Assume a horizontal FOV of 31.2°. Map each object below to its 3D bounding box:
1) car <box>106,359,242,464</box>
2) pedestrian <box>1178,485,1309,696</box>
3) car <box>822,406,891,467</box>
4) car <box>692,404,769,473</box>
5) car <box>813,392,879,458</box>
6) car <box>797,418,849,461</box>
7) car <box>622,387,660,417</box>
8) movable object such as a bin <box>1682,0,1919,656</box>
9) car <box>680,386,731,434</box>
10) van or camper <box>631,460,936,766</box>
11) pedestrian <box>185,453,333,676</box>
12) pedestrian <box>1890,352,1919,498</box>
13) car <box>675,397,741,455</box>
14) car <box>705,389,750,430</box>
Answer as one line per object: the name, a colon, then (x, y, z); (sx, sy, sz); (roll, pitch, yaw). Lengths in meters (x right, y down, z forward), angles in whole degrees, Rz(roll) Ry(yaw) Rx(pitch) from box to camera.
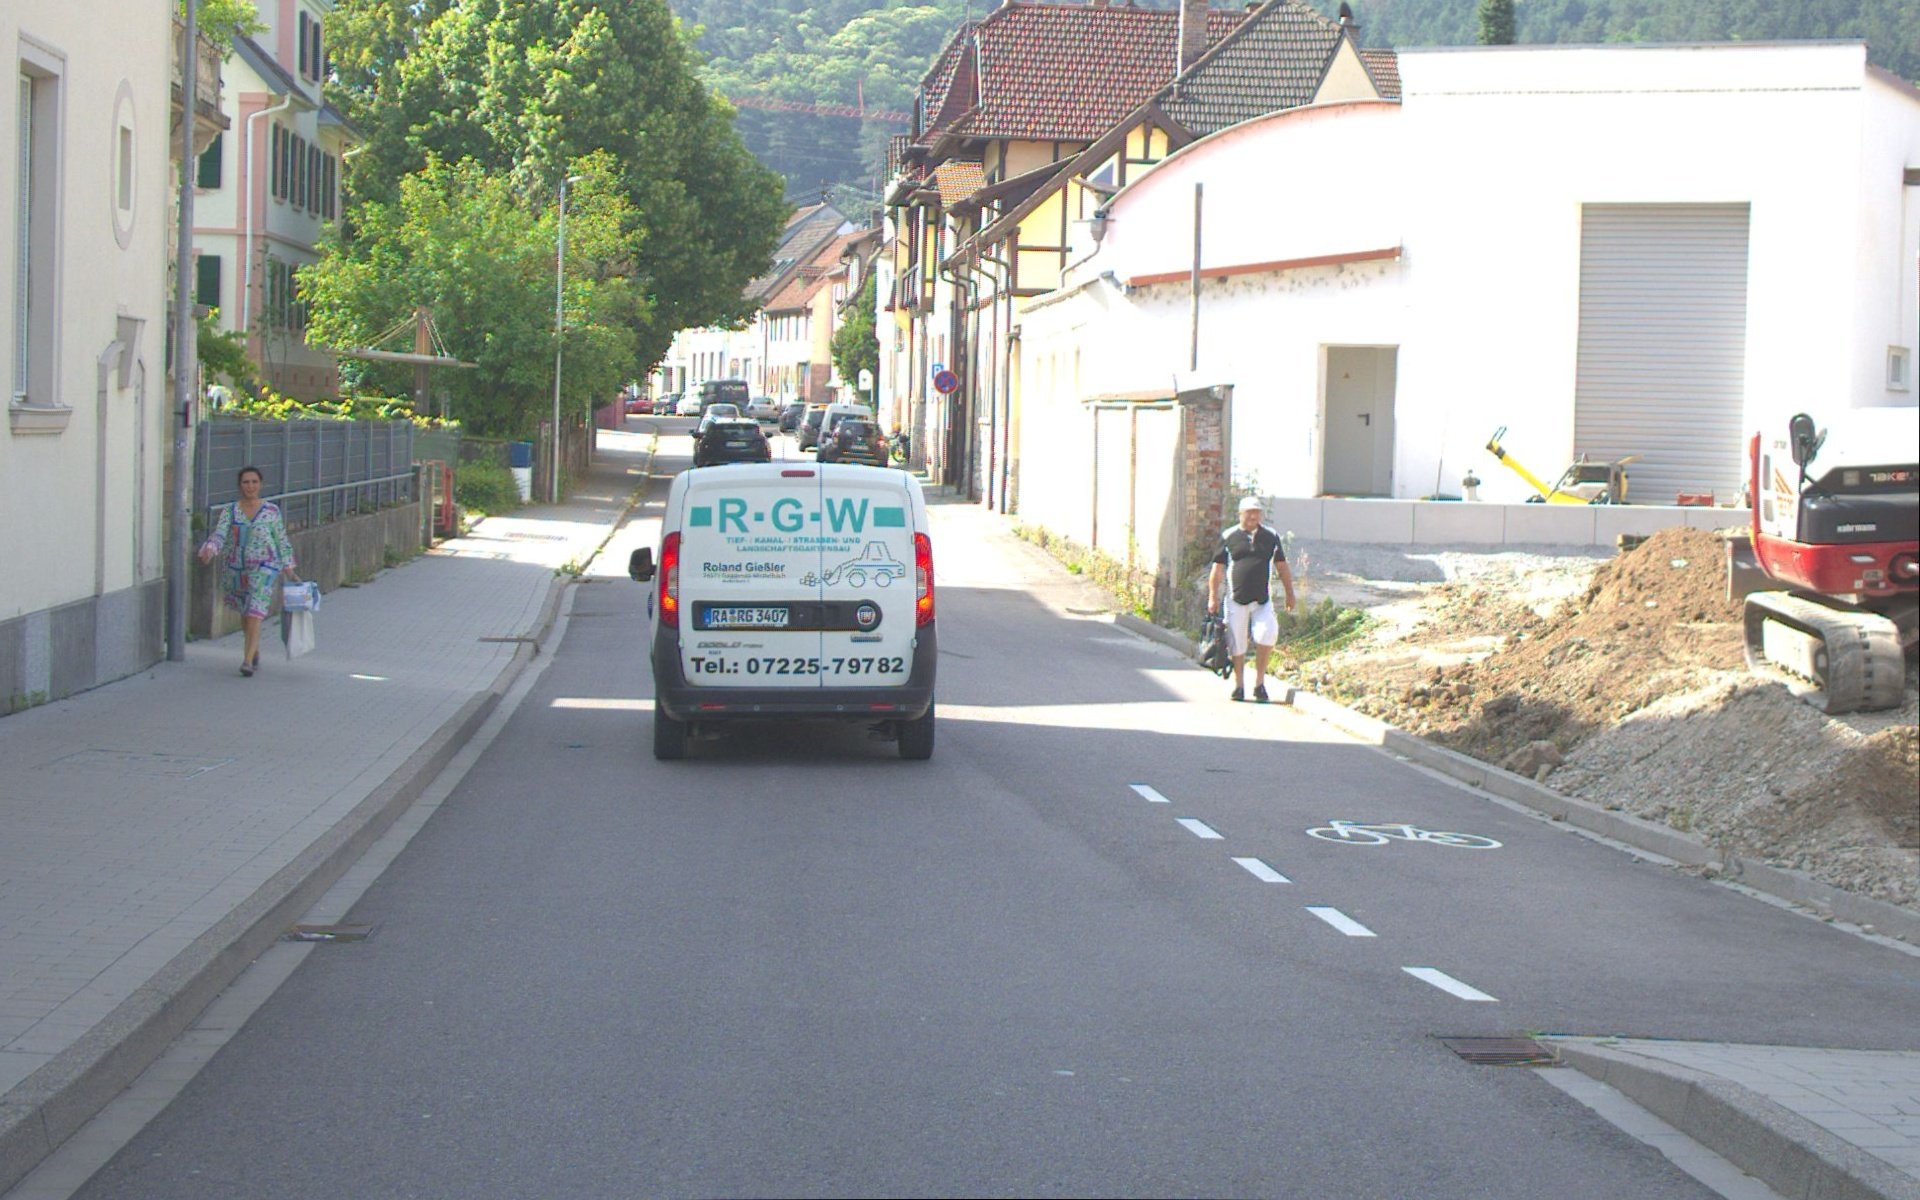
car: (-14.941, -3.618, 65.582); (1.822, 1.766, 4.684); (5, 3, -6)
pedestrian: (2.342, -0.089, 28.512); (0.888, 1.677, 0.719); (3, 2, -4)
car: (-3.073, -4.840, 101.276); (1.810, 1.591, 3.928); (4, 4, -4)
car: (-5.979, -4.208, 89.256); (1.810, 1.591, 3.928); (4, 4, -5)
car: (-3.716, -5.682, 111.398); (1.871, 2.006, 4.001); (2, 3, -4)
car: (-5.107, -5.974, 127.799); (1.669, 1.502, 4.002); (1, 4, -6)
car: (-20.491, -12.708, 220.736); (1.771, 1.792, 4.002); (1, 4, -15)
movable object such as a bin: (5.830, -1.641, 17.755); (2.295, 3.840, 7.800); (4, 3, 0)
car: (-15.421, -11.517, 207.799); (2.874, 2.825, 6.126); (1, 3, -6)
van or camper: (-1.260, 0.023, 22.808); (1.827, 1.838, 4.189); (0, 1, -6)
pedestrian: (-5.331, -0.281, 26.190); (0.958, 1.625, 0.758); (2, 2, -4)
pedestrian: (12.733, -2.306, 45.522); (0.634, 1.890, 0.607); (5, 4, 13)
car: (-7.873, -5.433, 107.035); (1.810, 1.591, 3.928); (4, 4, -6)
car: (-10.076, -8.290, 149.192); (1.810, 1.591, 3.928); (4, 4, -4)
